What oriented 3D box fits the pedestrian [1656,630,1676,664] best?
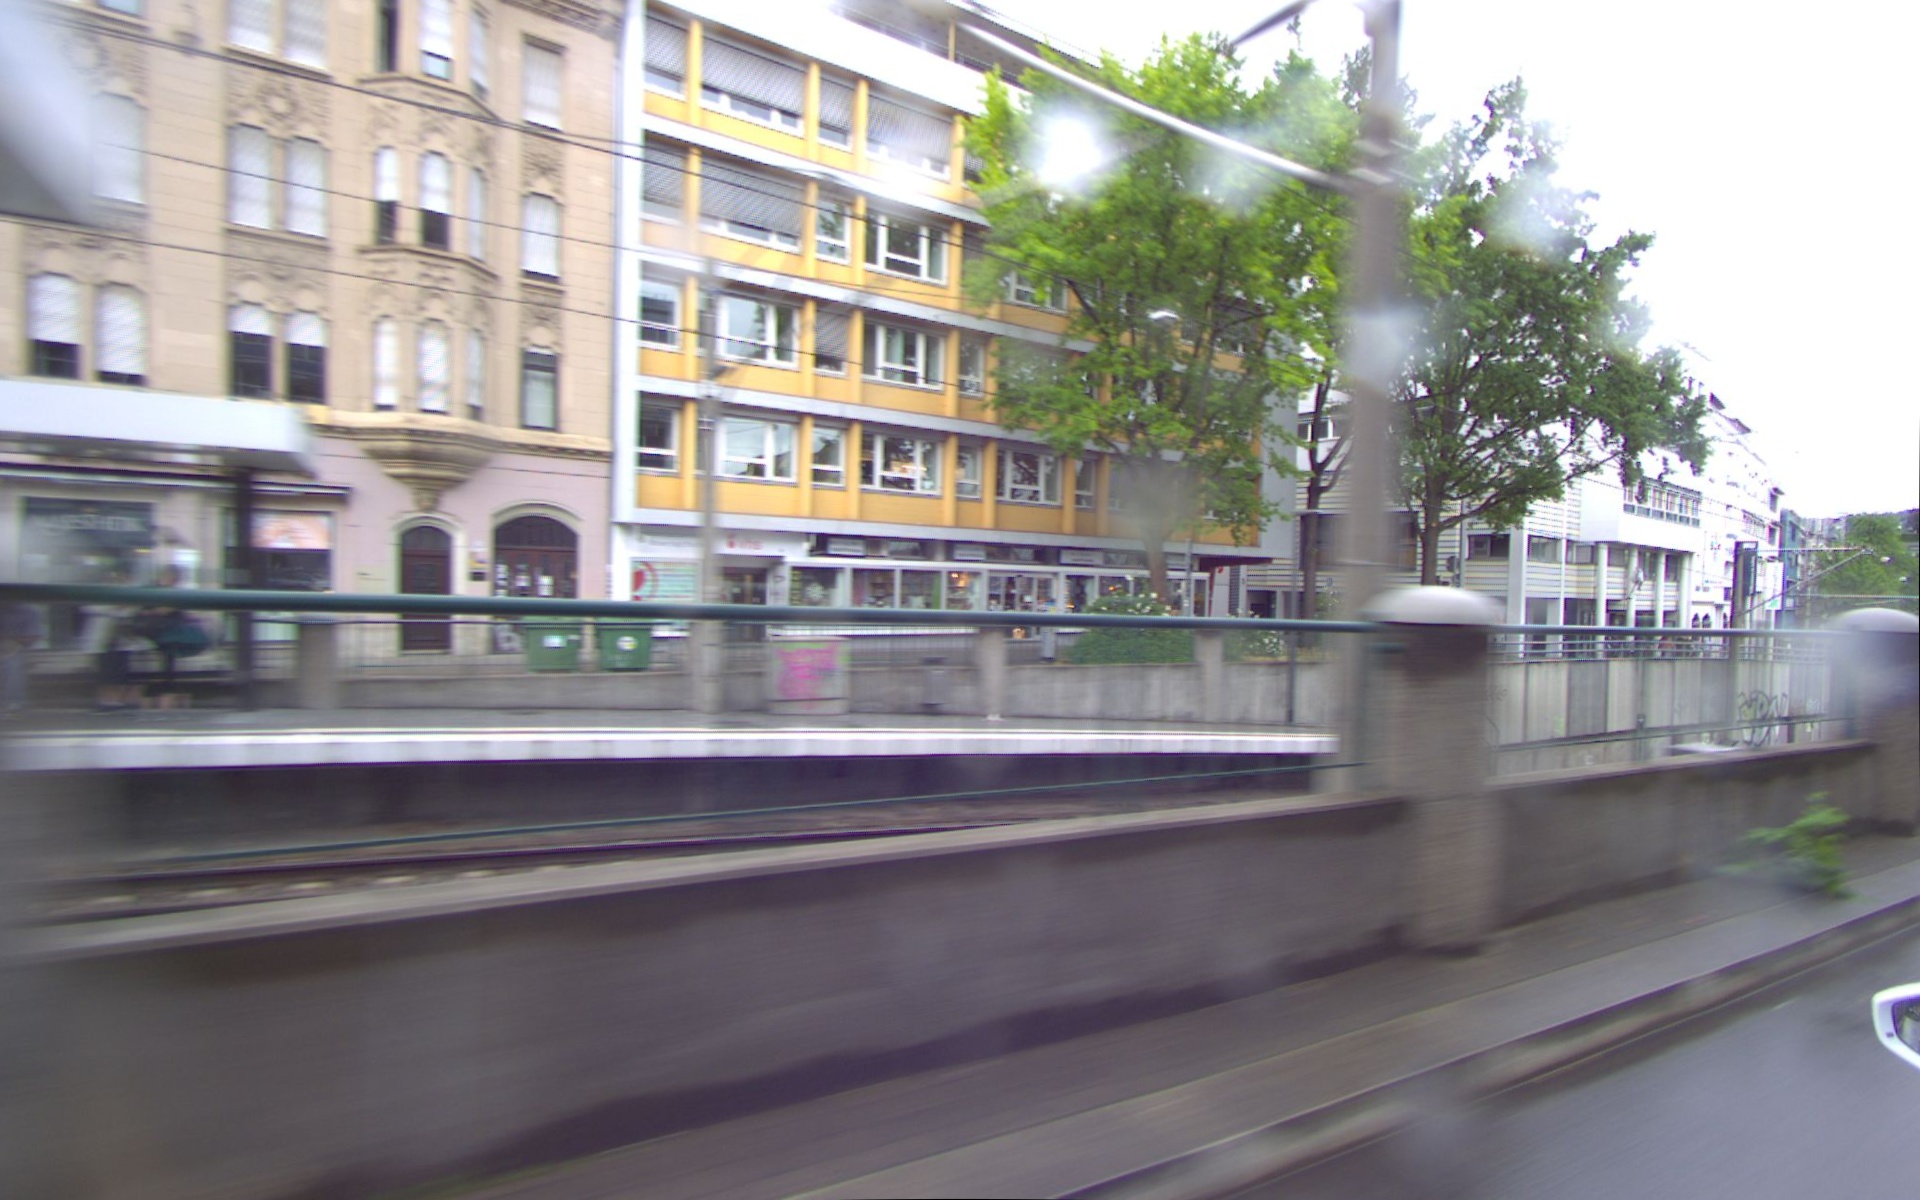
[{"bbox_3d":[35.666,2.361,50.743,0.661,1.637,0.940,2,0,30],"label":"pedestrian"}]

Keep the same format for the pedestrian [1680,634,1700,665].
[{"bbox_3d":[41.701,2.814,57.373,0.660,1.745,0.609,2,0,5],"label":"pedestrian"}]

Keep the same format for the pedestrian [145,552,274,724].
[{"bbox_3d":[-7.611,0.392,10.236,0.883,1.670,0.676,1,-4,-24],"label":"pedestrian"}]

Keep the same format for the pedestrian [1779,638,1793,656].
[{"bbox_3d":[94.107,5.359,114.413,0.947,1.893,0.861,3,0,-26],"label":"pedestrian"}]

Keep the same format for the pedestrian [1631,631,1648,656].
[{"bbox_3d":[39.969,2.573,59.102,0.668,1.438,0.602,3,0,-40],"label":"pedestrian"}]

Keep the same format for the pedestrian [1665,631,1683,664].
[{"bbox_3d":[40.073,2.659,56.384,0.661,1.809,0.940,2,0,30],"label":"pedestrian"}]

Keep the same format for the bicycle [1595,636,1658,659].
[{"bbox_3d":[36.027,2.582,54.271,4.488,1.057,1.678,3,2,-41],"label":"bicycle"}]

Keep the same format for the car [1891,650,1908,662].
[{"bbox_3d":[139.941,8.342,149.653,1.762,1.576,3.869,3,2,44],"label":"car"}]

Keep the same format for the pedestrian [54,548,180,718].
[{"bbox_3d":[-8.698,0.357,10.406,0.767,1.670,0.770,1,-5,-24],"label":"pedestrian"}]

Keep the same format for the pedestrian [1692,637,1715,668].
[{"bbox_3d":[41.554,2.923,56.129,0.660,1.664,0.795,2,0,0],"label":"pedestrian"}]

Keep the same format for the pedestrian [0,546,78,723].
[{"bbox_3d":[-9.289,0.351,9.807,0.767,1.670,0.770,1,-5,-24],"label":"pedestrian"}]
